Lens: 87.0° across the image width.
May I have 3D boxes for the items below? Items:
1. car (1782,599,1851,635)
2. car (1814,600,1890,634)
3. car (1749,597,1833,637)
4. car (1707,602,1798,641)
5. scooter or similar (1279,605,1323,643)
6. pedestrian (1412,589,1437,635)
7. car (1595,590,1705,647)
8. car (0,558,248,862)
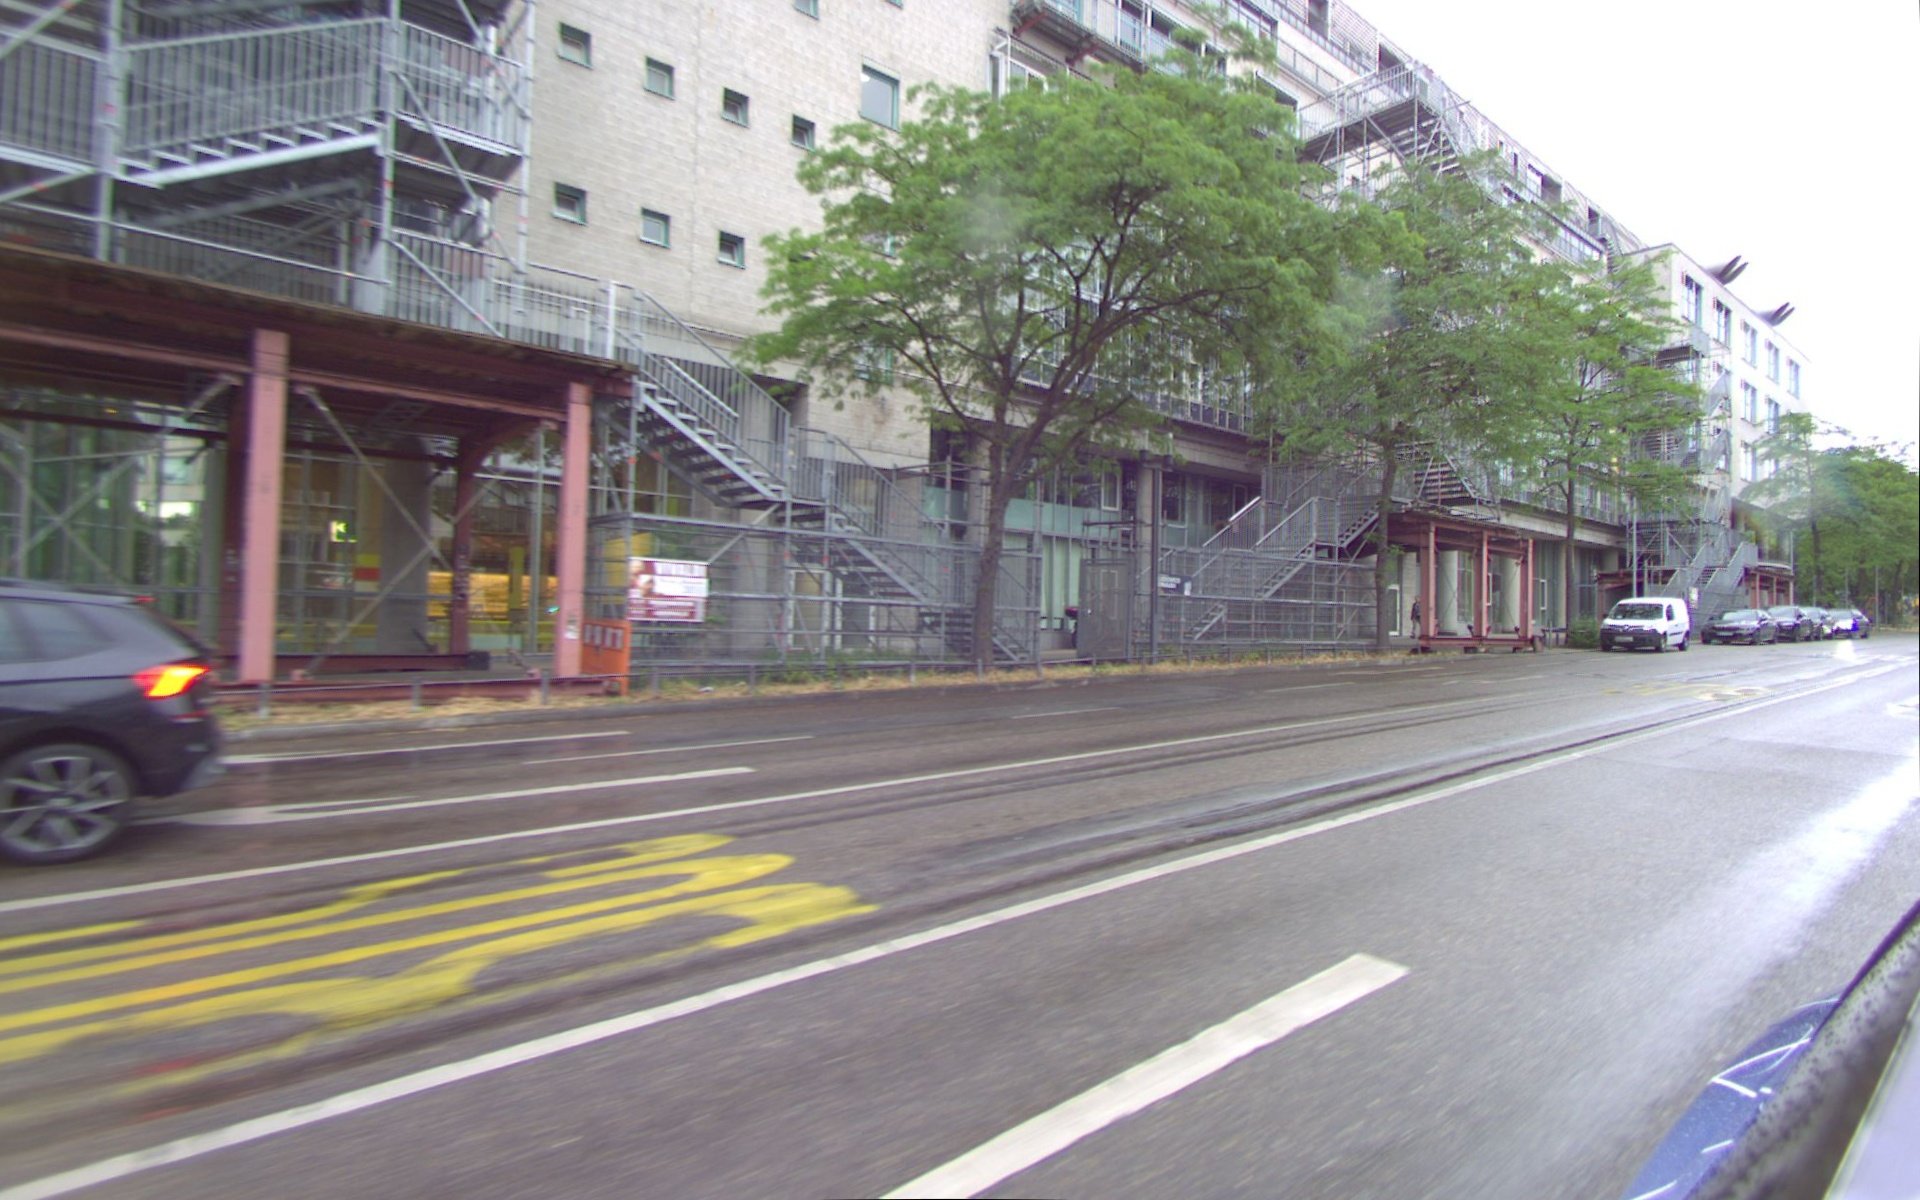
[{"bbox_3d":[41.349,0.811,48.809,4.512,1.621,1.865,1,0,-41],"label":"car"},{"bbox_3d":[46.073,0.864,52.233,5.191,1.621,1.999,1,0,-38],"label":"car"},{"bbox_3d":[37.317,0.752,45.400,4.773,1.667,1.998,1,0,-39],"label":"car"},{"bbox_3d":[32.210,0.853,41.099,4.831,1.456,1.873,1,0,-39],"label":"car"},{"bbox_3d":[10.752,0.743,31.855,1.520,1.176,0.632,1,0,-41],"label":"scooter or similar"},{"bbox_3d":[18.229,0.471,39.705,0.641,1.764,0.678,1,0,-38],"label":"pedestrian"},{"bbox_3d":[23.173,0.590,33.919,4.447,1.772,1.997,1,0,-41],"label":"car"},{"bbox_3d":[-6.262,0.552,5.276,4.071,1.559,1.782,1,0,-39],"label":"car"}]
